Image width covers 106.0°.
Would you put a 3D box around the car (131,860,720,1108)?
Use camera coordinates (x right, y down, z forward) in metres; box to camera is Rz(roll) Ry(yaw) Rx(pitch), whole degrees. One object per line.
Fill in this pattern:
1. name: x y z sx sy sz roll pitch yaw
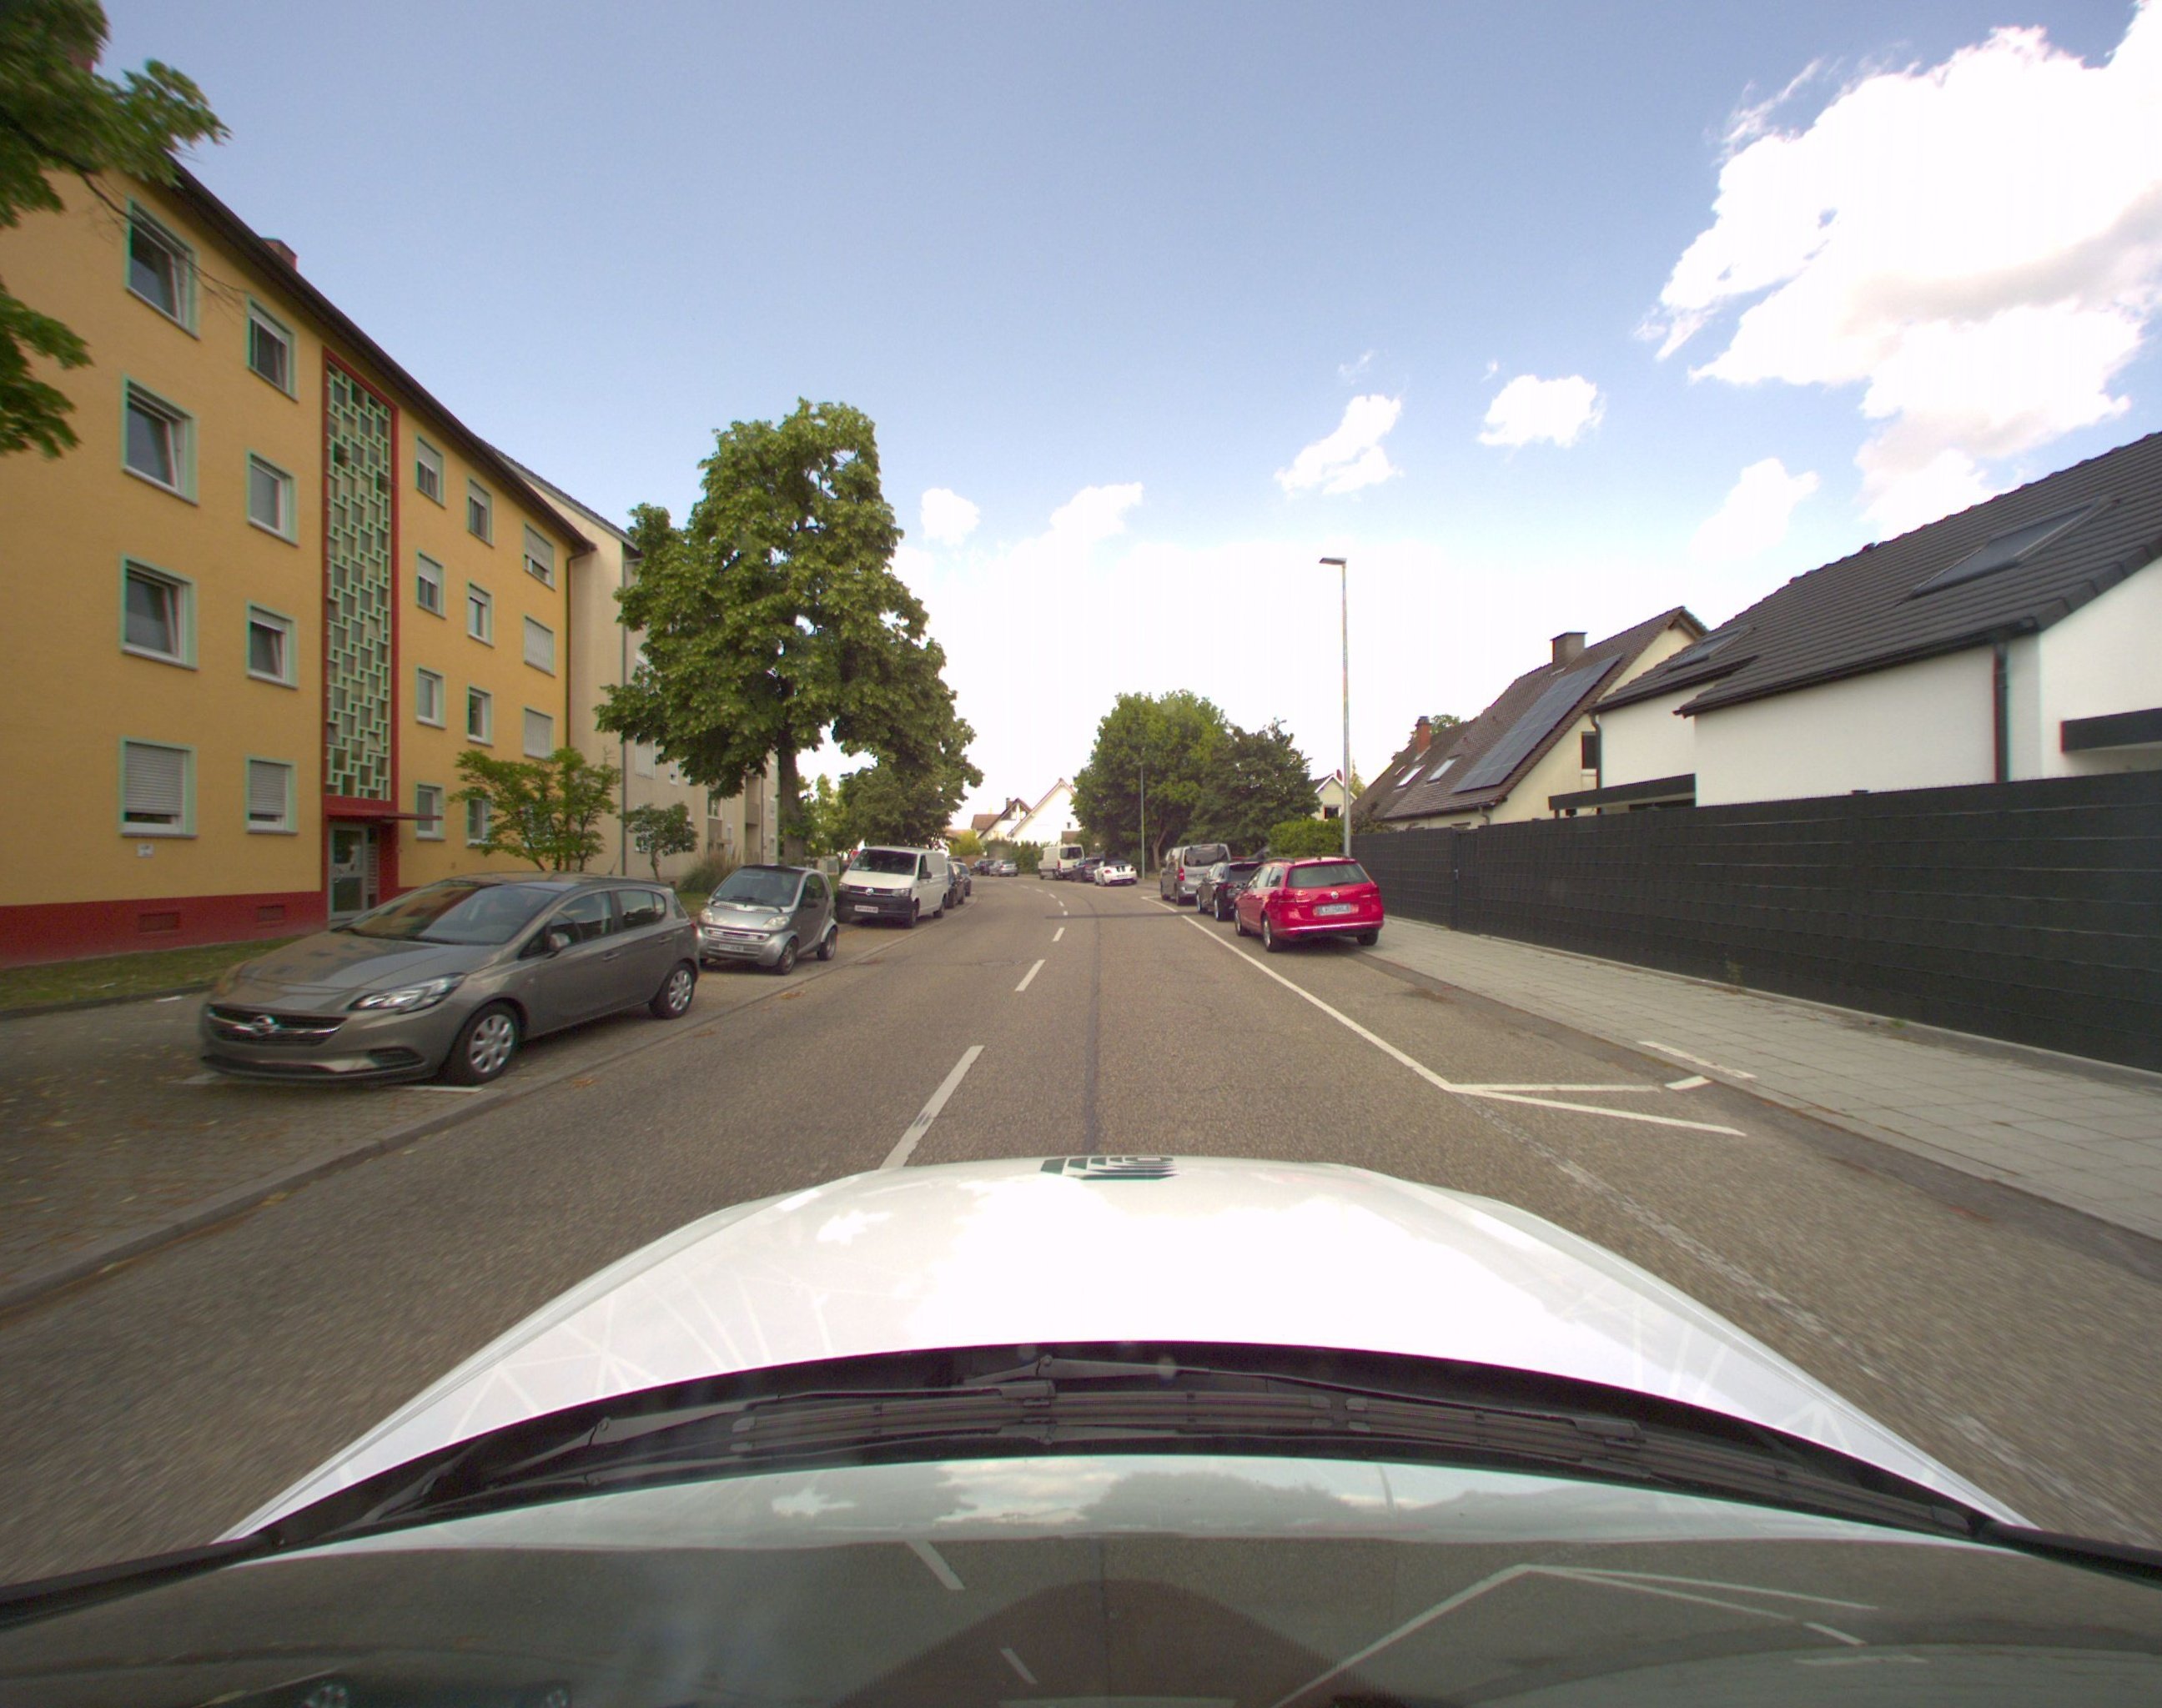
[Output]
1. car: -5.039 0.870 7.146 1.676 1.486 3.987 2 -2 4

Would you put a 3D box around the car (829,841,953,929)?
1. car: -4.813 0.724 21.528 1.872 2.009 5.324 1 0 2

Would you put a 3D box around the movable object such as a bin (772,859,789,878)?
1. movable object such as a bin: -24.896 1.215 67.414 1.202 1.437 1.360 -2 3 -25

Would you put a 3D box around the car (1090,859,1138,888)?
1. car: 1.735 1.009 44.026 1.740 1.512 4.443 0 0 -10

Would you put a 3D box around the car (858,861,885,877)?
1. car: -20.424 1.474 79.290 1.794 1.458 4.400 4 -3 -23

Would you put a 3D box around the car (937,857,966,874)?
1. car: -13.857 1.198 86.855 1.804 1.748 4.544 0 0 -27

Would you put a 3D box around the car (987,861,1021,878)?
1. car: -6.753 1.337 70.920 1.744 1.457 4.333 0 0 -22

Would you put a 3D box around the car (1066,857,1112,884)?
1. car: 0.452 1.014 50.938 1.721 1.585 4.101 0 0 -16

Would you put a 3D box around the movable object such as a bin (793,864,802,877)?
1. movable object such as a bin: -23.805 1.399 68.321 0.625 1.024 0.874 -1 3 -13

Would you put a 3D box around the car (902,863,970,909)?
1. car: -5.105 1.096 29.246 1.756 1.489 4.501 0 0 -2

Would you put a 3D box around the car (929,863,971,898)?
1. car: -6.111 1.170 37.687 1.761 1.489 4.018 1 -1 -11

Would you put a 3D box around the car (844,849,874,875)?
1. car: -23.151 0.838 84.846 2.072 2.501 5.795 4 -2 -23

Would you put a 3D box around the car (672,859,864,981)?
1. car: -4.858 0.938 13.238 1.512 1.549 3.755 5 0 0

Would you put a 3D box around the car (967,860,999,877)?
1. car: -9.162 1.352 75.964 1.745 1.509 4.440 0 0 -24

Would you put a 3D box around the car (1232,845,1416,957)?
1. car: 3.926 0.683 14.034 1.843 1.579 4.733 0 0 1

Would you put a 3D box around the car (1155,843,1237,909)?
1. car: 3.774 0.676 27.510 1.838 1.944 4.872 -3 0 -2

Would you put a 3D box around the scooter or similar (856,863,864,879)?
1. scooter or similar: -16.293 1.249 60.008 0.420 1.165 1.133 1 -1 -20

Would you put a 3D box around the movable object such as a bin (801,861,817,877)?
1. movable object such as a bin: -22.877 1.258 68.550 1.193 1.274 0.874 -1 3 -13

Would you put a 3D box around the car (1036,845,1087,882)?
1. car: -1.435 0.635 57.186 2.122 2.441 5.861 0 0 -17

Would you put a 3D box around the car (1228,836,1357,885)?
1. car: 9.201 0.281 35.531 5.301 2.057 2.008 0 -1 15
